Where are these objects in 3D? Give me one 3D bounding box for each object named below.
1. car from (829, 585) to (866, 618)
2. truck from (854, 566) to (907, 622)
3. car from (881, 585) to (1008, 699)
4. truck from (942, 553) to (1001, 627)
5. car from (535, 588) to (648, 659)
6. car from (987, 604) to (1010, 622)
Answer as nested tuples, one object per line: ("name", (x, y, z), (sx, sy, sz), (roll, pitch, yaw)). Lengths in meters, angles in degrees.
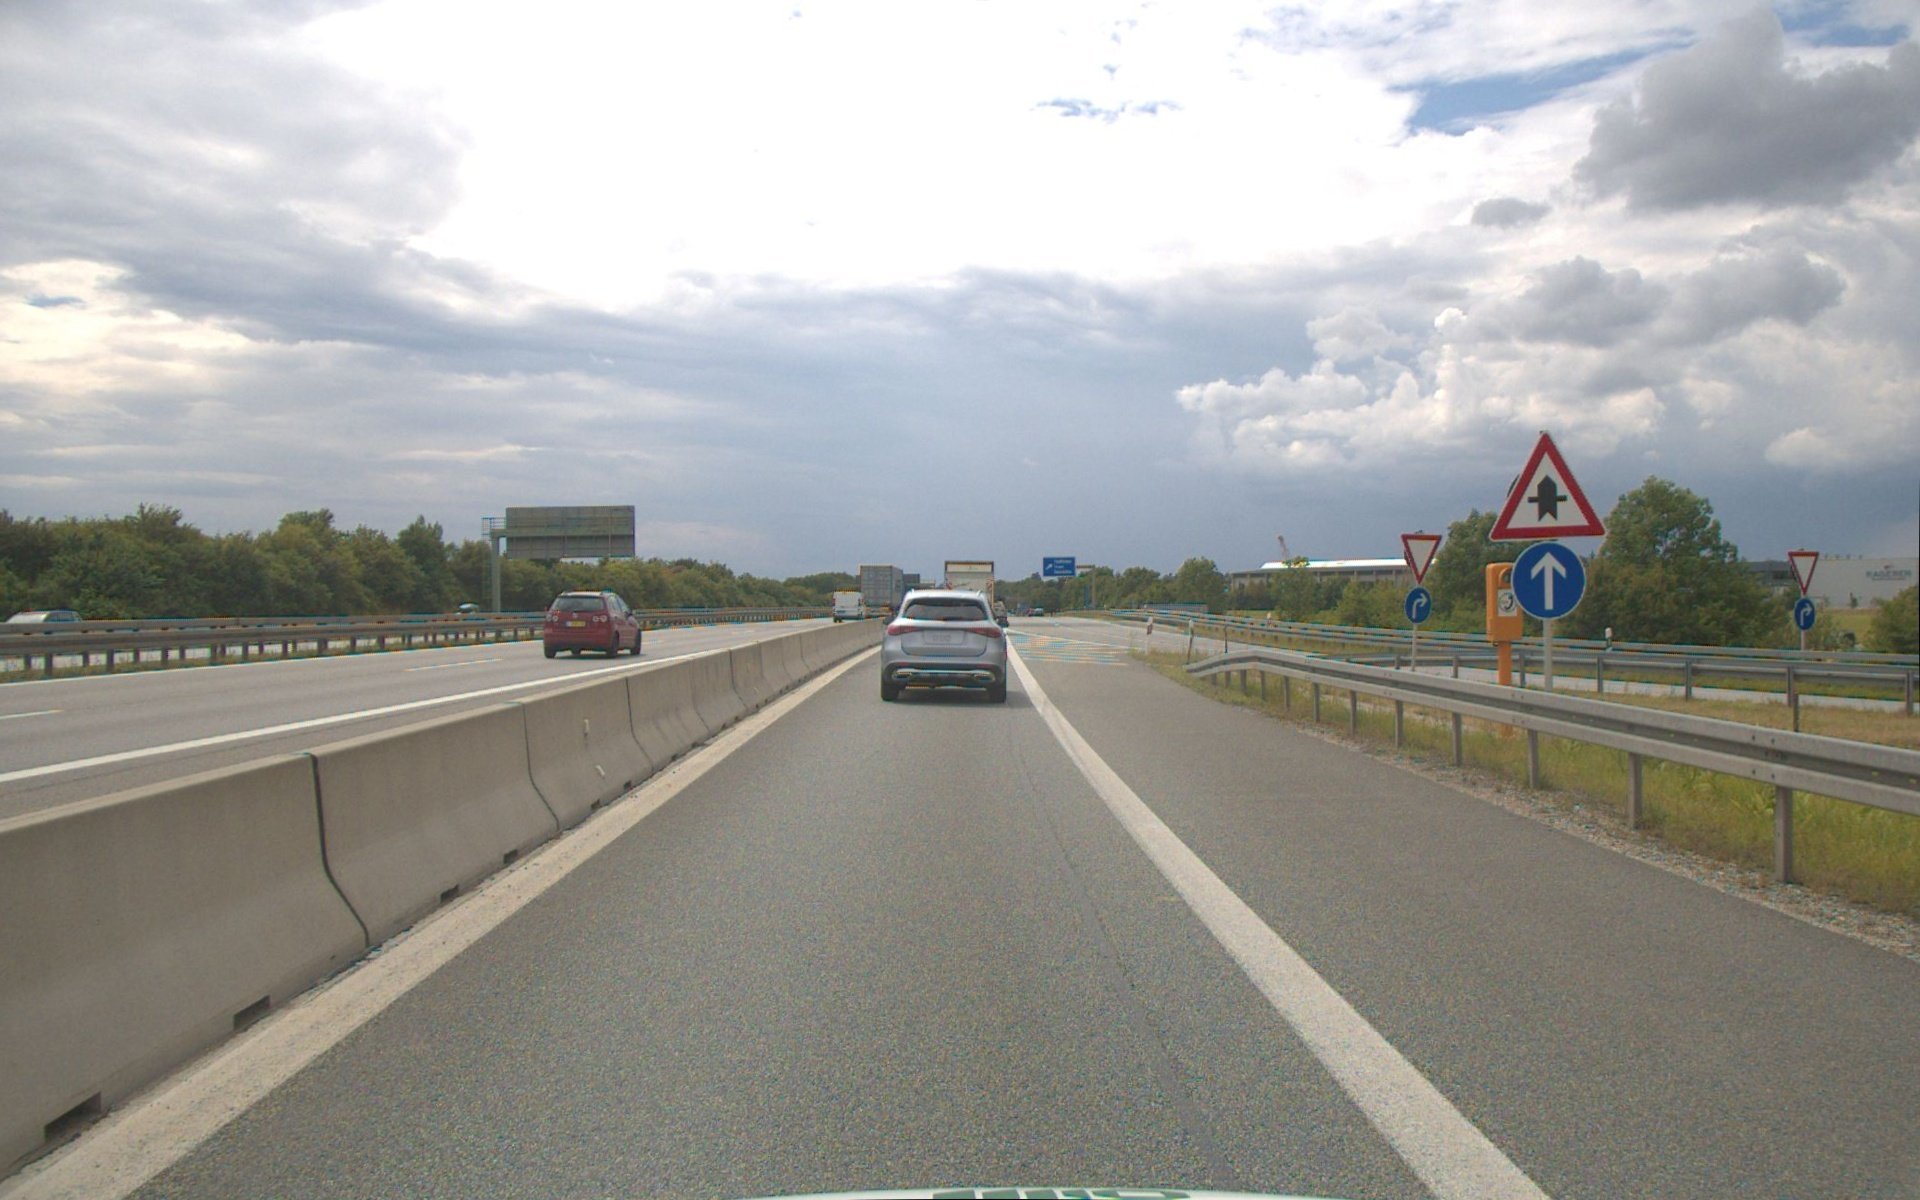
("car", (-7.394, 0.070, 108.701), (1.952, 2.048, 4.376), (1, 1, 2))
("truck", (-6.145, -0.615, 130.259), (3.118, 4.089, 16.078), (1, 1, 1))
("car", (-0.226, 0.574, 25.392), (1.782, 1.541, 4.000), (1, 1, 0))
("truck", (0.501, -0.431, 75.814), (2.516, 3.180, 8.634), (1, 0, 0))
("car", (-9.034, 0.537, 40.900), (1.782, 1.572, 4.355), (1, 1, 0))
("car", (3.027, 1.013, 129.549), (1.661, 1.310, 4.001), (1, 0, 2))
